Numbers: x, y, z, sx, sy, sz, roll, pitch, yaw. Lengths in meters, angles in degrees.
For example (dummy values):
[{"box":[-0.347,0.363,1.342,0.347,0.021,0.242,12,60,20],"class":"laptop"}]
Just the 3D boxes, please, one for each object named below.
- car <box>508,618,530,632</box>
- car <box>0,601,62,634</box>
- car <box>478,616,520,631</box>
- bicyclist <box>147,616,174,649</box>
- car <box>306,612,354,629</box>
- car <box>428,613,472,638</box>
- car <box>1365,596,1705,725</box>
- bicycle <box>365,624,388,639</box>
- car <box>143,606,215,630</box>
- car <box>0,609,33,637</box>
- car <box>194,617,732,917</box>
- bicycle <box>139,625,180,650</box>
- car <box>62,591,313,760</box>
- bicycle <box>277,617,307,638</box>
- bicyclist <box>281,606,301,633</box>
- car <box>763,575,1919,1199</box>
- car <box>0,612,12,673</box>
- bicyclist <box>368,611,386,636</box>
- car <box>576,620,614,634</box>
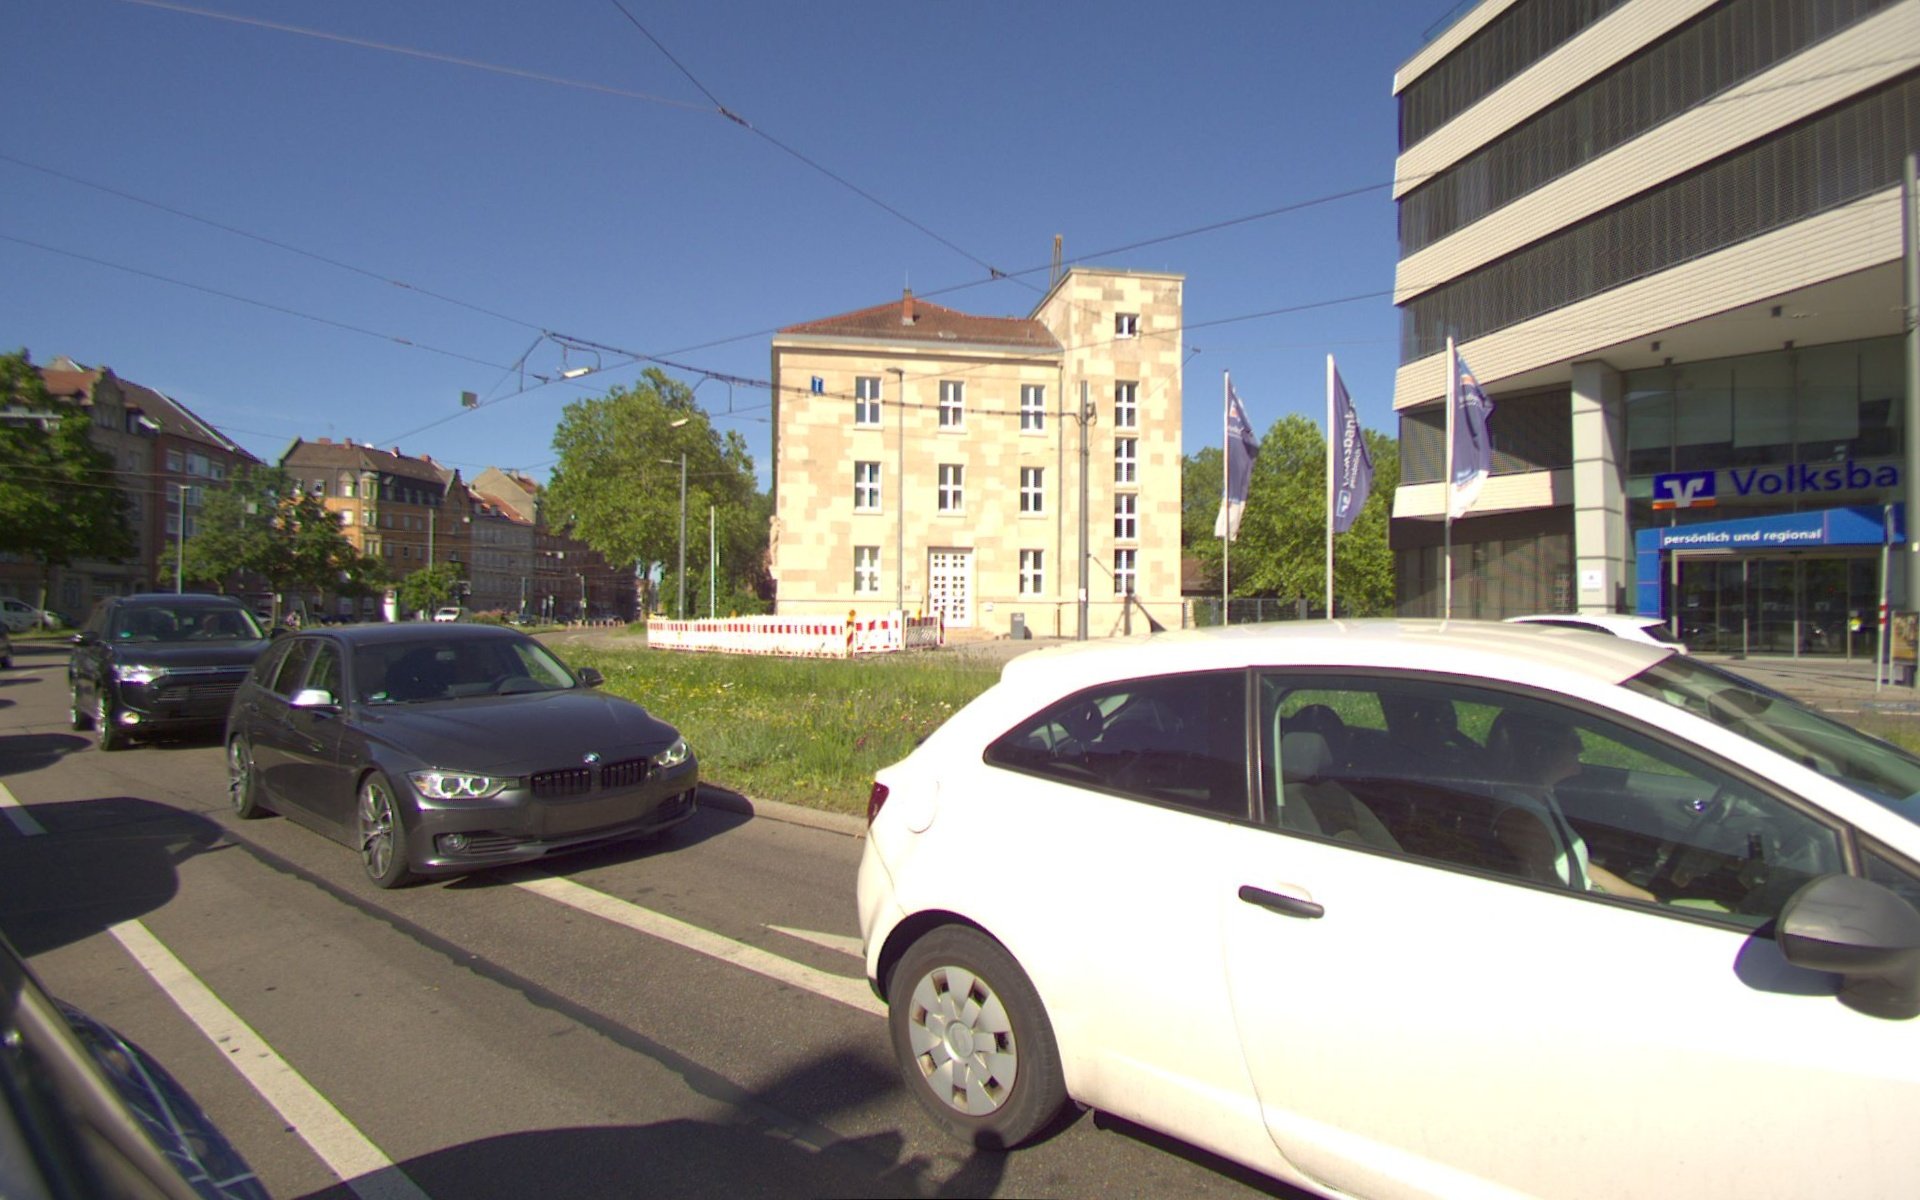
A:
[{"box":[-48.677,2.695,111.742,1.809,1.483,4.728,1,-1,-19],"class":"car"},{"box":[-49.922,0.888,52.799,4.514,1.680,1.601,2,-2,-43],"class":"car"},{"box":[-52.719,2.665,115.730,4.020,1.669,1.763,1,-1,6],"class":"car"},{"box":[-39.972,1.635,50.614,0.658,1.641,0.973,0,-1,-10],"class":"bicyclist"},{"box":[-71.380,2.357,114.714,4.276,1.896,1.846,1,-1,-15],"class":"car"},{"box":[-44.839,2.232,89.056,1.953,2.101,4.720,1,-1,-7],"class":"car"},{"box":[8.416,0.822,14.986,4.174,1.658,1.803,-1,-2,37],"class":"car"},{"box":[-46.325,2.516,80.337,0.753,1.153,2.286,0,-1,-6],"class":"bicycle"},{"box":[-53.922,1.270,69.881,3.771,1.603,1.601,2,-2,-44],"class":"car"},{"box":[-48.757,1.149,50.392,3.768,1.390,1.602,2,-2,-41],"class":"car"},{"box":[-3.593,0.827,6.883,4.424,1.377,1.719,-1,0,41],"class":"car"},{"box":[-39.960,1.852,50.520,0.658,1.206,2.159,0,-1,-10],"class":"bicycle"},{"box":[-9.375,0.772,12.134,1.817,1.658,4.400,-1,-1,-45],"class":"car"},{"box":[-43.475,1.785,65.874,0.726,1.371,2.078,0,-1,-6],"class":"bicycle"},{"box":[-43.493,1.253,65.800,0.724,1.707,0.972,0,-1,-6],"class":"bicyclist"},{"box":[1.486,0.694,2.483,4.020,1.452,1.714,0,2,40],"class":"car"},{"box":[-26.872,1.153,26.954,1.810,1.659,4.158,2,-2,-36],"class":"car"},{"box":[-46.293,1.865,80.401,0.836,2.029,1.198,0,-1,-6],"class":"bicyclist"},{"box":[-42.920,3.163,119.006,4.001,1.669,1.772,1,-1,-16],"class":"car"}]
